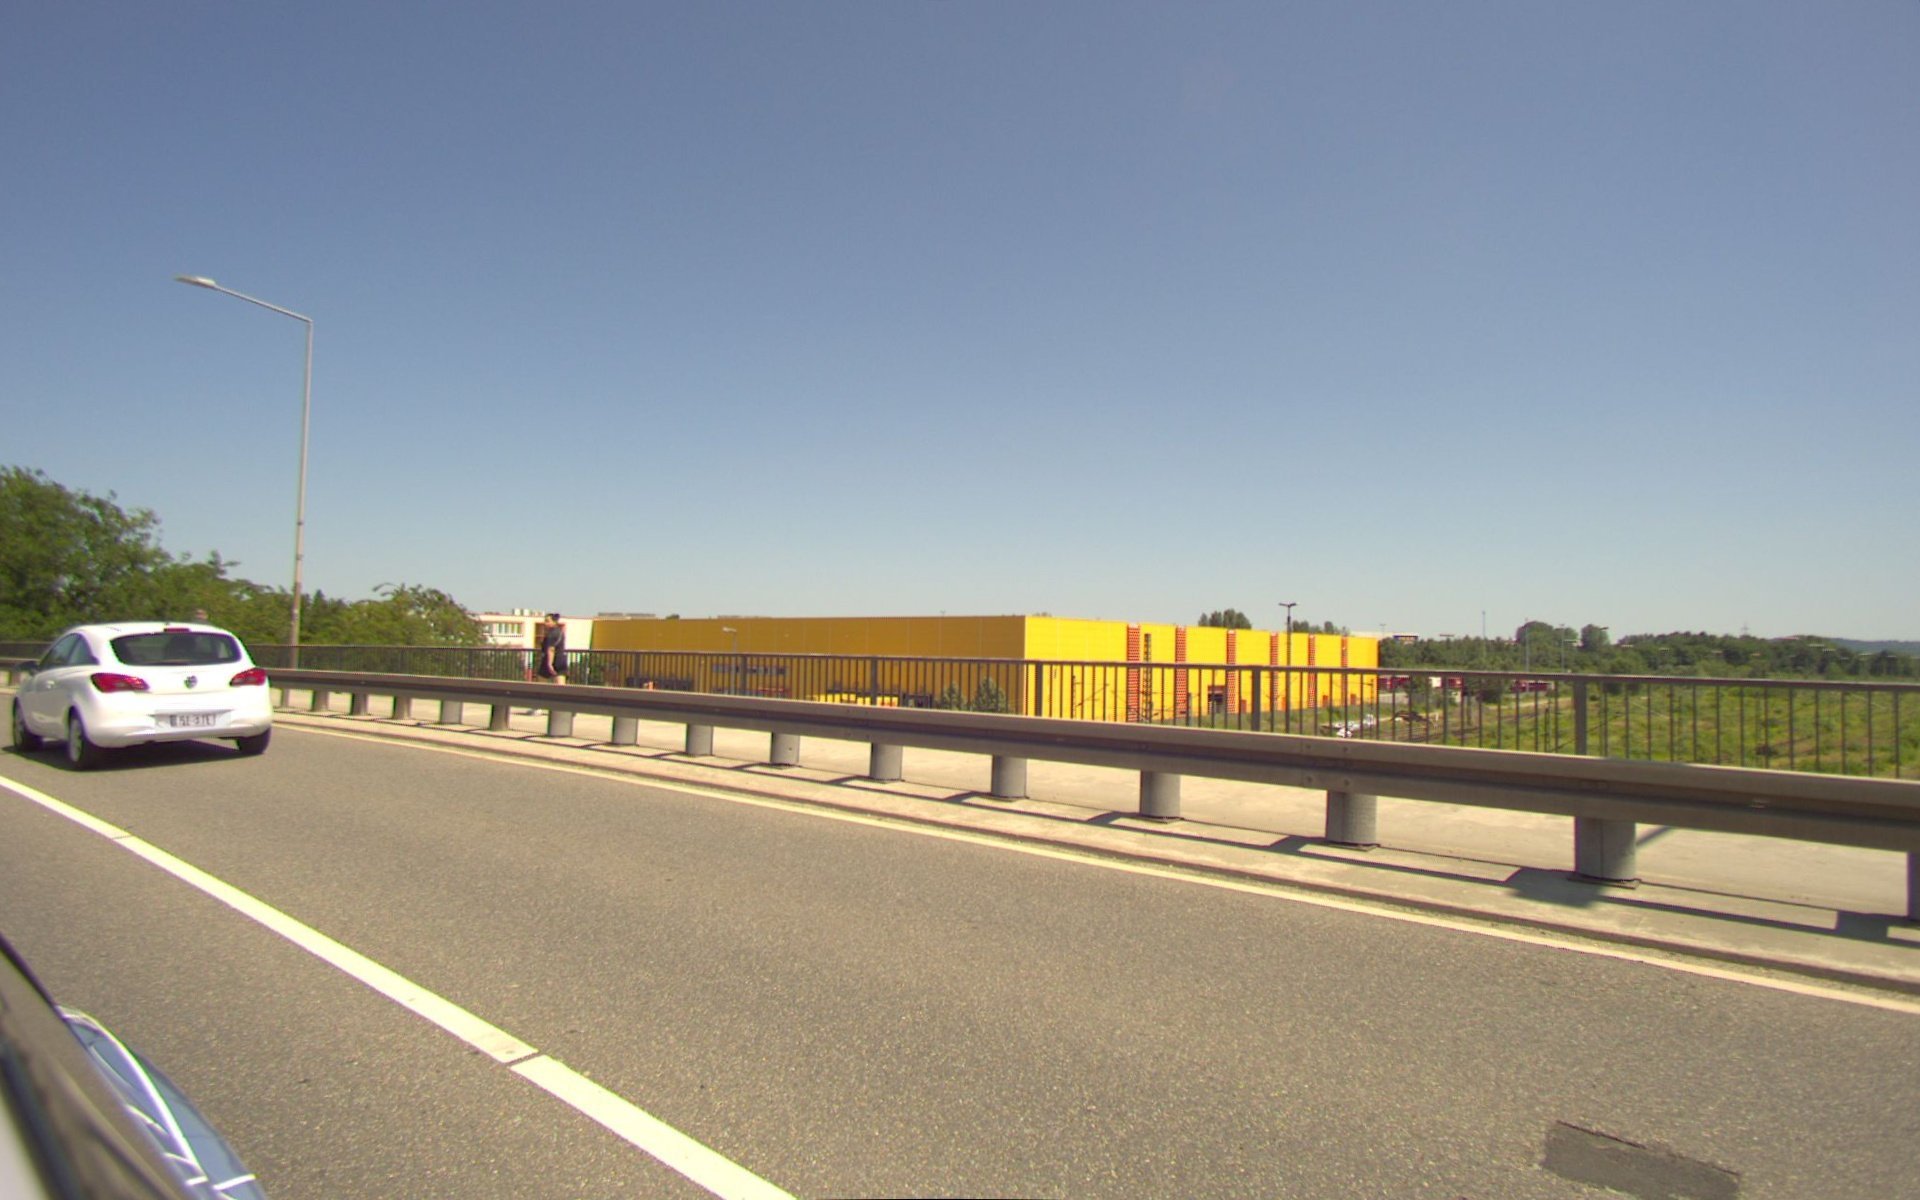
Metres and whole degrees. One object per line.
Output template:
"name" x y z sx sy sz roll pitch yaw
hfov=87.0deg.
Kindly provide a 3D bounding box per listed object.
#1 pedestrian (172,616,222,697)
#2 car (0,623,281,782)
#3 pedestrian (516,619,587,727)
"pedestrian" -17.337 1.258 22.997 0.808 1.796 0.633 -1 -1 30
"car" -9.388 1.022 11.463 3.861 1.495 1.708 -1 -3 38
"pedestrian" -6.155 1.082 15.264 0.693 1.573 0.707 -1 -3 39
